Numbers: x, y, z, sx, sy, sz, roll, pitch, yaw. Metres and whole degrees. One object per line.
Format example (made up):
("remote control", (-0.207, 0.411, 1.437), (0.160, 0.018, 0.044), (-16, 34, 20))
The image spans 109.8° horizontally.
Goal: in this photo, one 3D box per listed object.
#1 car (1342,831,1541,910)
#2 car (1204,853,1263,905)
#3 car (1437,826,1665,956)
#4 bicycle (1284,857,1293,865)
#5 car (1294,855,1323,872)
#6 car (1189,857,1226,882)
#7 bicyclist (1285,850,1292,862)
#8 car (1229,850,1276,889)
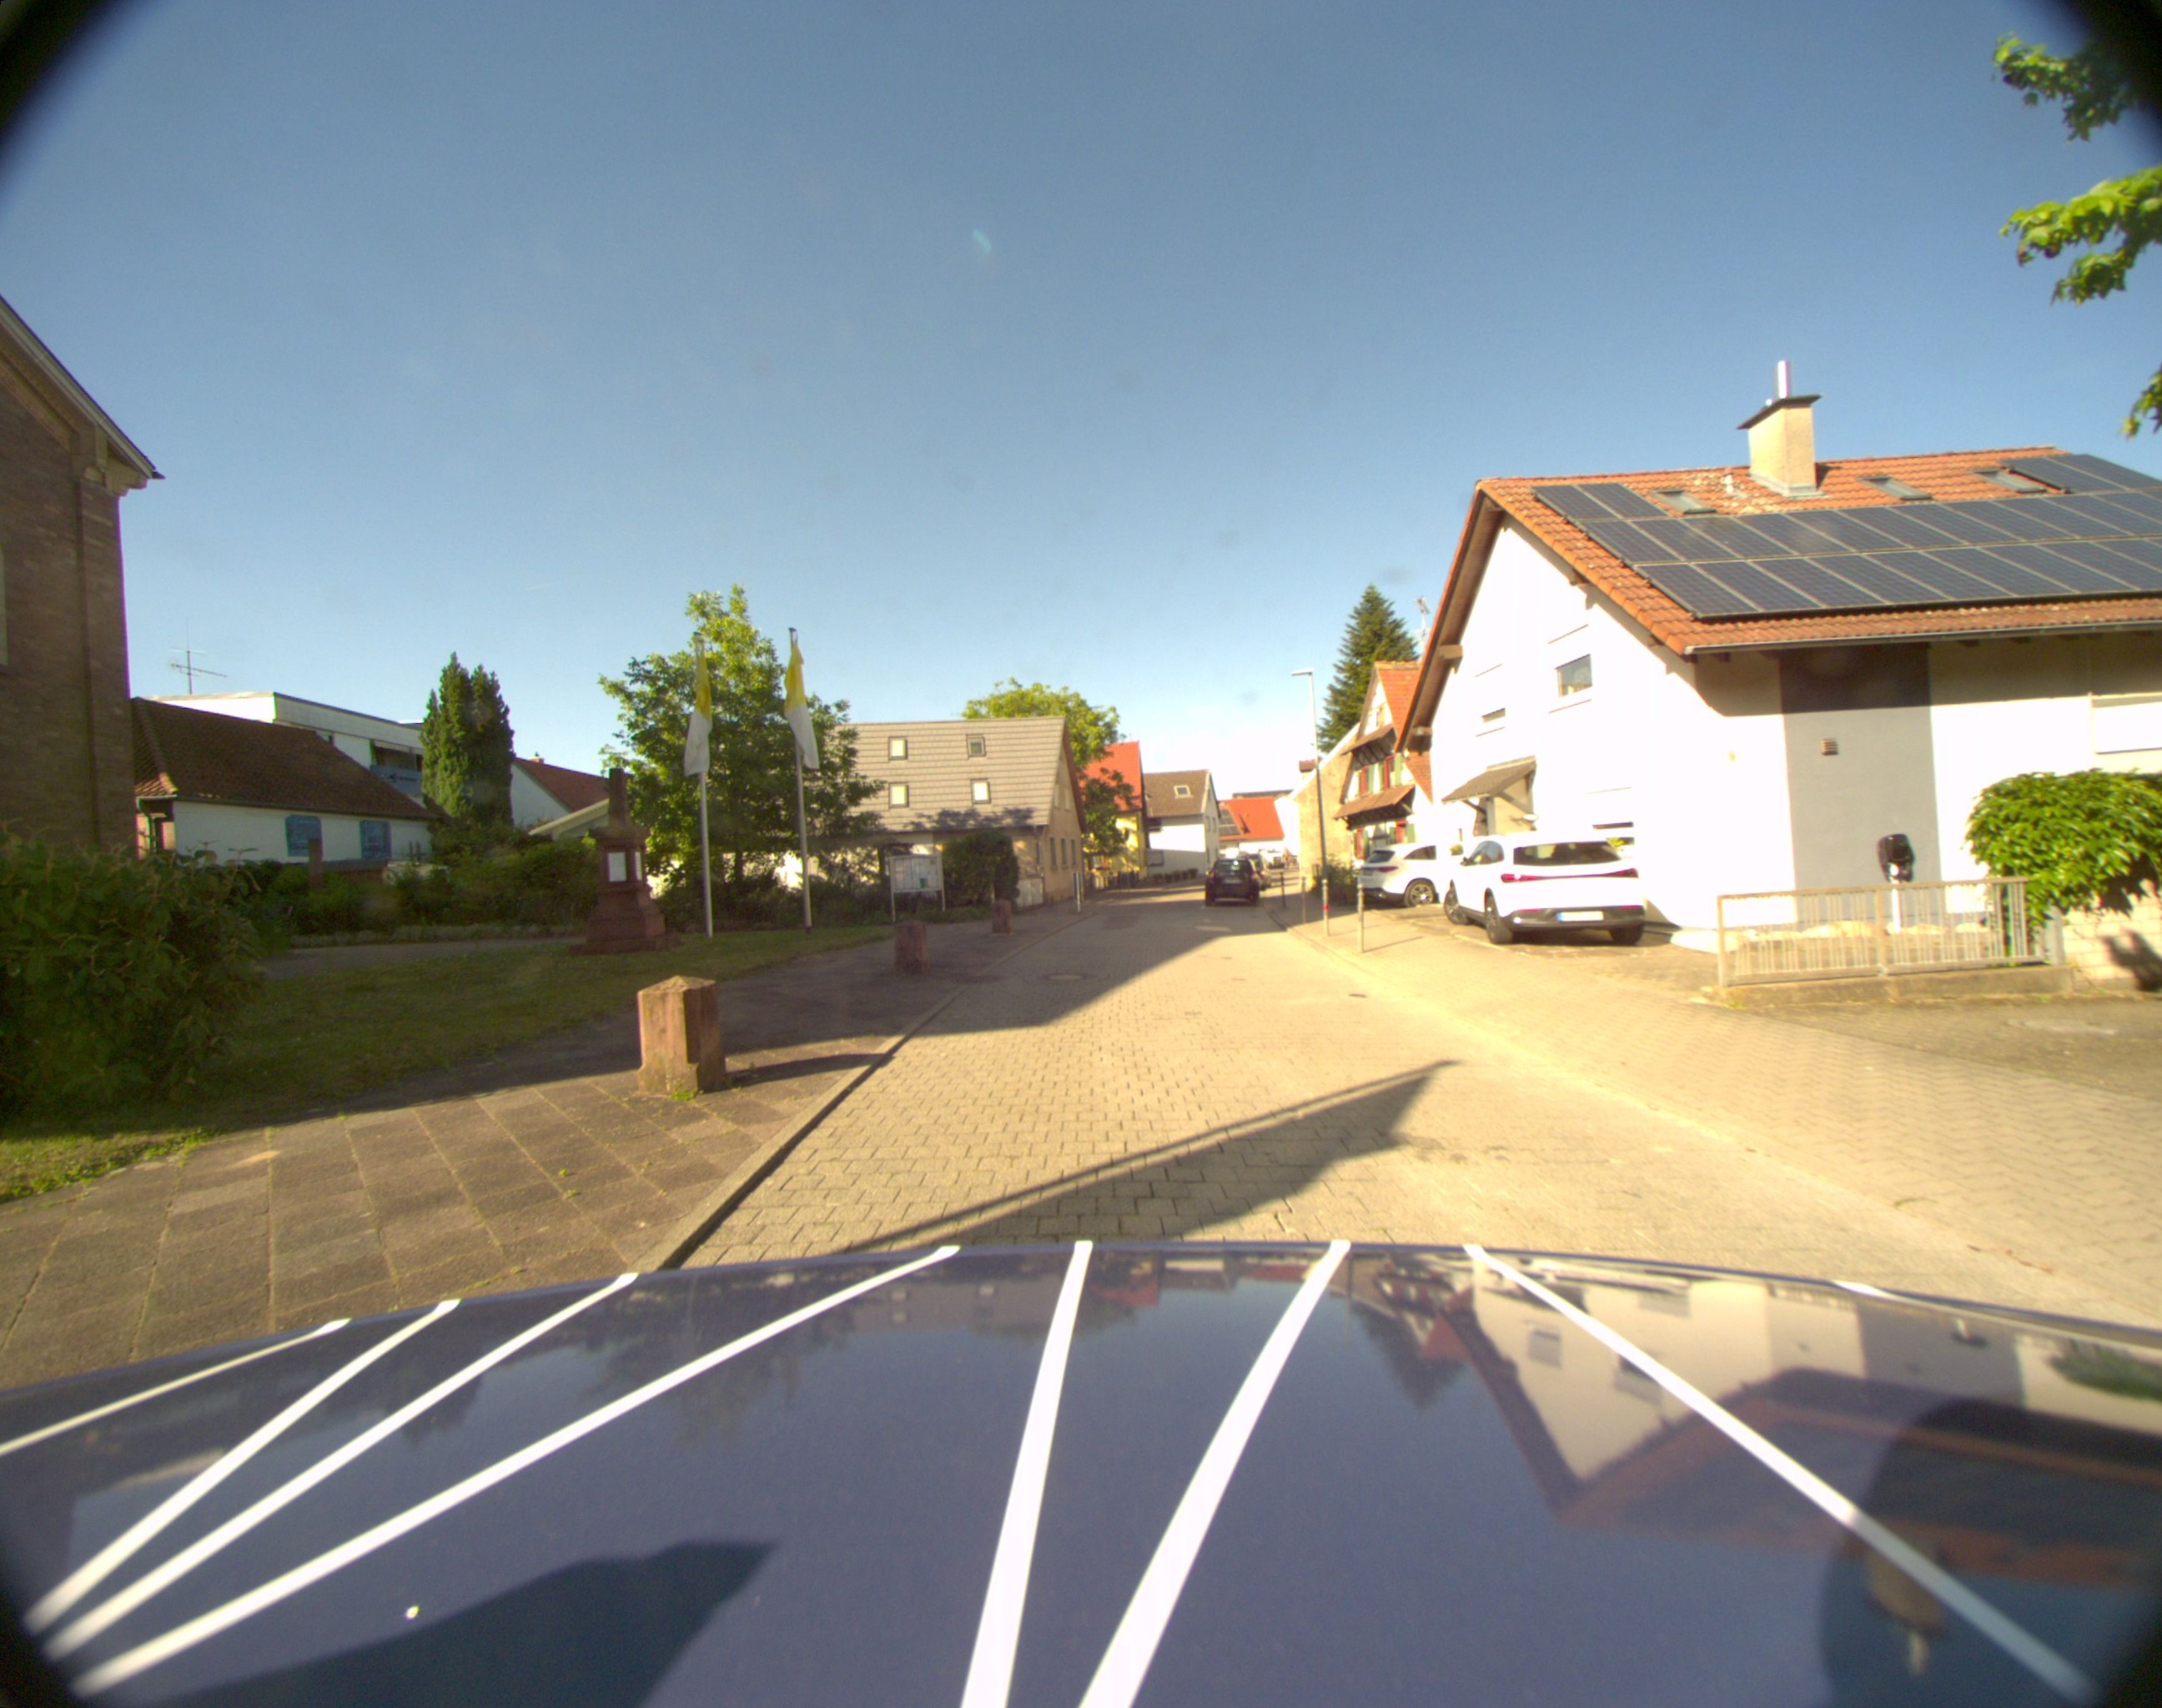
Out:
("car", (9.031, 0.415, 19.271), (3.998, 1.579, 2.000), (-5, -1, -2))
("car", (5.374, 0.817, 26.696), (1.835, 1.661, 4.357), (-1, 0, 12))
("car", (7.089, 0.478, 12.036), (1.820, 1.586, 4.450), (-4, 0, 16))
("bicycle", (22.818, 0.764, 83.449), (0.581, 0.757, 1.803), (-1, 0, 29))
("car", (22.422, 0.936, 74.705), (1.890, 1.581, 4.007), (-2, 0, 28))
("car", (8.518, 1.015, 51.044), (1.805, 1.469, 4.349), (-2, 0, 18))
("bicyclist", (22.795, 0.181, 83.458), (0.581, 1.312, 0.609), (-1, 0, 29))
("car", (8.535, 0.720, 37.578), (1.834, 1.779, 4.359), (0, 0, 18))
